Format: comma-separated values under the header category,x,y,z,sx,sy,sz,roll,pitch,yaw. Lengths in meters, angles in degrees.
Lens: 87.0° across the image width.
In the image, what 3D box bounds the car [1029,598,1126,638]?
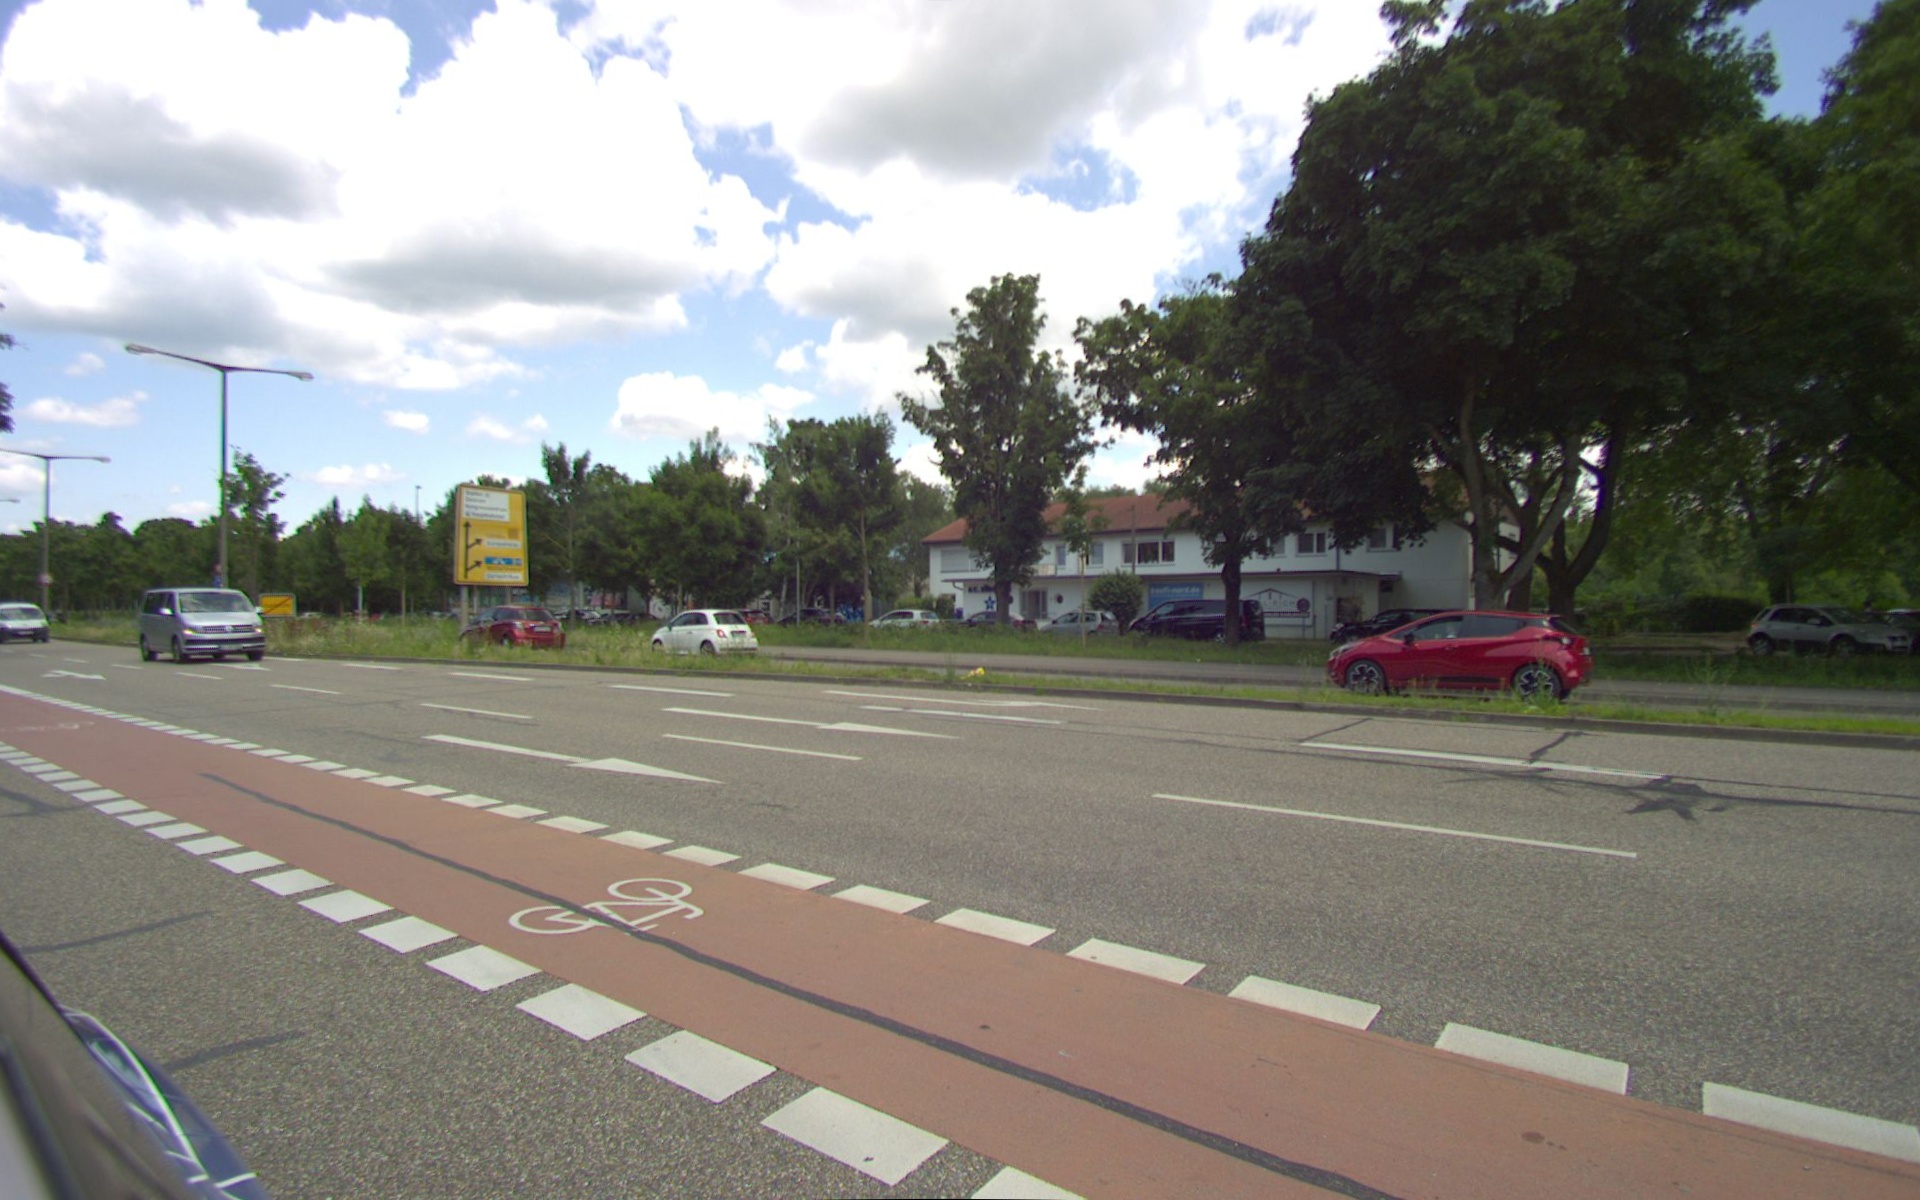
category,x,y,z,sx,sy,sz,roll,pitch,yaw
car,4.937,0.770,42.684,3.664,1.600,1.896,-1,-2,41

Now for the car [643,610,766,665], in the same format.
category,x,y,z,sx,sy,sz,roll,pitch,yaw
car,-7.409,1.038,29.250,3.589,1.456,1.596,0,0,38

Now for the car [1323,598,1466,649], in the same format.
category,x,y,z,sx,sy,sz,roll,pitch,yaw
car,14.916,0.778,34.786,4.347,1.670,1.794,0,0,30

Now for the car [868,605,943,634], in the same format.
category,x,y,z,sx,sy,sz,roll,pitch,yaw
car,-2.640,0.947,48.749,3.475,1.342,1.604,-1,-2,41

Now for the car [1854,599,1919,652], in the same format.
category,x,y,z,sx,sy,sz,roll,pitch,yaw
car,29.902,0.756,30.440,1.966,1.600,4.033,0,-3,-14

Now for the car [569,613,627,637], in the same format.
category,x,y,z,sx,sy,sz,roll,pitch,yaw
car,-24.490,1.672,68.403,4.021,1.600,1.973,-1,-2,41

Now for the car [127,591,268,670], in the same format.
category,x,y,z,sx,sy,sz,roll,pitch,yaw
car,-20.581,0.790,27.216,5.226,1.933,1.795,-1,-1,39

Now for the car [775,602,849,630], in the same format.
category,x,y,z,sx,sy,sz,roll,pitch,yaw
car,-7.781,0.844,53.045,3.864,1.422,1.707,-1,-2,41

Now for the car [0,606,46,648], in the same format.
category,x,y,z,sx,sy,sz,roll,pitch,yaw
car,-42.717,1.182,45.712,4.155,1.799,1.724,-1,0,42

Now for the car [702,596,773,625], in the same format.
category,x,y,z,sx,sy,sz,roll,pitch,yaw
car,-12.597,0.617,57.219,4.021,1.600,1.973,-1,-2,41

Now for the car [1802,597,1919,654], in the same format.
category,x,y,z,sx,sy,sz,roll,pitch,yaw
car,27.618,0.732,29.727,1.966,1.600,4.033,0,-1,-14

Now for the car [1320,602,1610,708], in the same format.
category,x,y,z,sx,sy,sz,roll,pitch,yaw
car,8.249,0.815,16.659,3.994,1.523,1.869,0,0,38

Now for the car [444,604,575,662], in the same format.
category,x,y,z,sx,sy,sz,roll,pitch,yaw
car,-13.618,0.958,30.517,3.994,1.630,1.974,-1,-1,38

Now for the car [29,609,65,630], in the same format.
category,x,y,z,sx,sy,sz,roll,pitch,yaw
car,-79.617,1.718,88.217,3.998,1.759,1.892,-1,-1,41

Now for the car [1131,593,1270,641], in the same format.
category,x,y,z,sx,sy,sz,roll,pitch,yaw
car,9.151,0.666,38.762,4.927,1.724,1.863,-1,-2,41

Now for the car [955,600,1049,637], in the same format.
category,x,y,z,sx,sy,sz,roll,pitch,yaw
car,1.853,0.823,45.238,4.021,1.600,1.740,-1,-2,41

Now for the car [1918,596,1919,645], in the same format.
category,x,y,z,sx,sy,sz,roll,pitch,yaw
car,32.326,0.628,30.891,1.966,1.557,4.033,0,-1,-14

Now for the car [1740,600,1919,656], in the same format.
category,x,y,z,sx,sy,sz,roll,pitch,yaw
car,25.130,0.787,29.011,1.966,1.495,4.033,0,-1,-14
